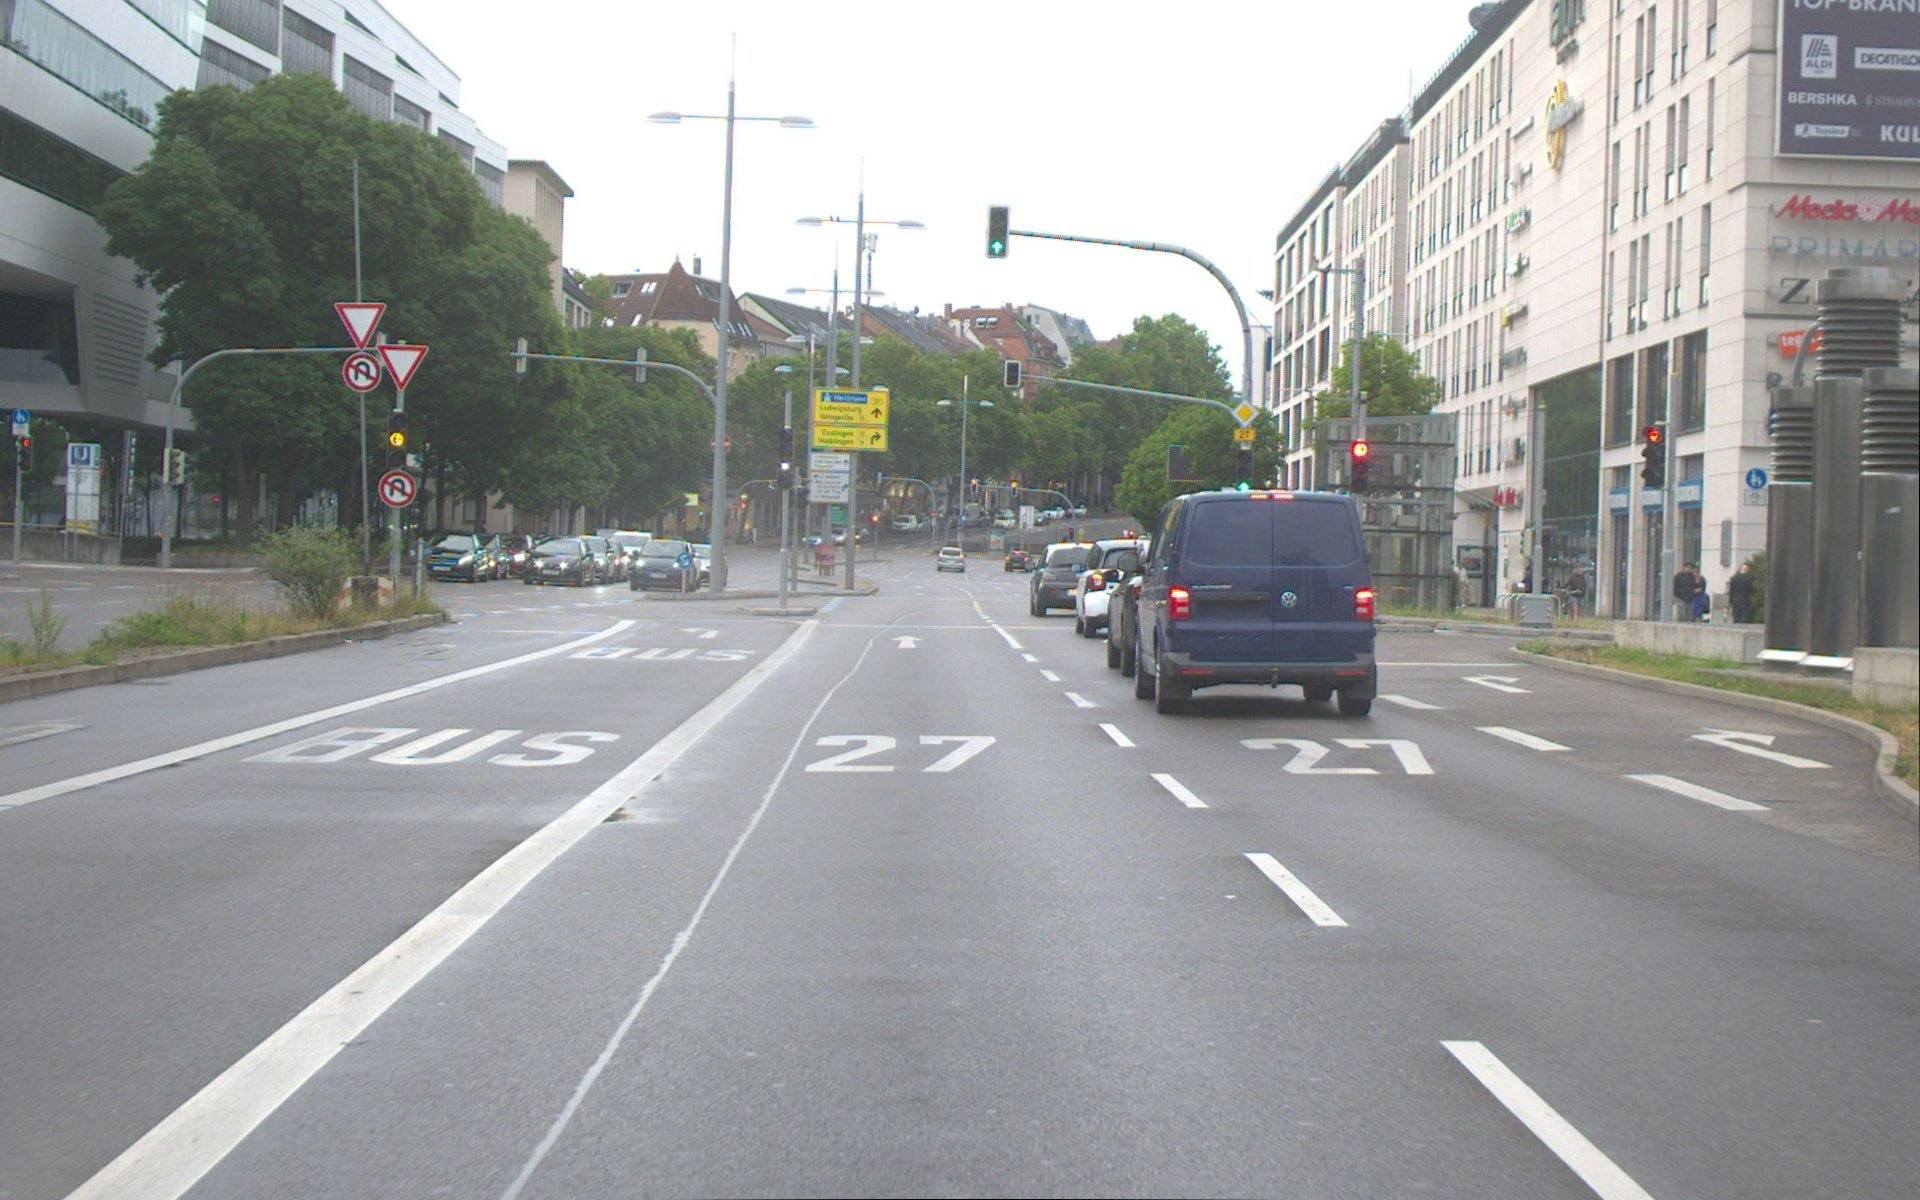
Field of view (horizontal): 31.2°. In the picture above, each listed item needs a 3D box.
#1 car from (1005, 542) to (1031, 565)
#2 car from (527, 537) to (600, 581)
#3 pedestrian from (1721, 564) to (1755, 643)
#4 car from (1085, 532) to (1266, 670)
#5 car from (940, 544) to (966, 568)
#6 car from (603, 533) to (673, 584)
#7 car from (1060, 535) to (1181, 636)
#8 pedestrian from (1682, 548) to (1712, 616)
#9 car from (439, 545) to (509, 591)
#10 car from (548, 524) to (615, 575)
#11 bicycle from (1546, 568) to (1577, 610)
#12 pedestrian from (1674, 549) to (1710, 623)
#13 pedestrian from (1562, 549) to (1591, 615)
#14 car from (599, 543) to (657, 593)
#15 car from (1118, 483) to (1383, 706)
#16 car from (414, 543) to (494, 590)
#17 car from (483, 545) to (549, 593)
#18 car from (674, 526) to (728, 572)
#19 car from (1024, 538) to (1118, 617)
[{"bbox_3d":[4.038,-3.254,241.059,1.740,1.526,3.814,1,0,0],"label":"car"},{"bbox_3d":[-11.886,-1.238,103.243,1.743,1.253,3.540,2,1,0],"label":"car"},{"bbox_3d":[17.619,0.086,77.880,0.439,1.774,0.595,1,0,-30],"label":"pedestrian"},{"bbox_3d":[2.460,-0.030,40.138,1.791,1.501,4.339,1,1,0],"label":"car"},{"bbox_3d":[-0.448,-2.918,228.772,1.740,1.526,3.814,1,1,0],"label":"car"},{"bbox_3d":[-9.548,-1.211,102.040,1.743,1.439,3.395,1,0,0],"label":"car"},{"bbox_3d":[2.533,-0.227,54.842,1.724,1.526,3.814,1,0,0],"label":"car"},{"bbox_3d":[17.867,-0.425,83.350,0.594,1.636,0.587,1,0,25],"label":"pedestrian"},{"bbox_3d":[-15.598,-1.009,110.452,1.743,1.419,3.539,1,0,0],"label":"car"},{"bbox_3d":[-12.179,-1.615,110.816,1.743,1.553,3.539,1,0,0],"label":"car"},{"bbox_3d":[14.710,-0.261,84.066,0.449,1.012,1.742,1,0,0],"label":"bicycle"},{"bbox_3d":[16.568,-0.315,77.829,0.621,1.666,0.824,1,0,0],"label":"pedestrian"},{"bbox_3d":[15.069,-0.438,84.019,0.550,1.605,0.698,1,0,0],"label":"pedestrian"},{"bbox_3d":[-11.989,-1.126,124.268,1.743,1.742,3.539,1,0,0],"label":"car"},{"bbox_3d":[2.574,-0.110,31.651,2.033,1.875,5.042,0,1,0],"label":"car"},{"bbox_3d":[-14.953,-0.988,101.731,1.743,1.324,4.225,1,0,0],"label":"car"},{"bbox_3d":[-14.977,-1.048,116.020,1.743,1.553,3.539,1,0,0],"label":"car"},{"bbox_3d":[-8.747,-1.701,116.480,1.538,1.472,3.696,1,0,0],"label":"car"},{"bbox_3d":[2.209,-0.442,68.988,1.740,1.526,3.814,-1,0,0],"label":"car"}]
